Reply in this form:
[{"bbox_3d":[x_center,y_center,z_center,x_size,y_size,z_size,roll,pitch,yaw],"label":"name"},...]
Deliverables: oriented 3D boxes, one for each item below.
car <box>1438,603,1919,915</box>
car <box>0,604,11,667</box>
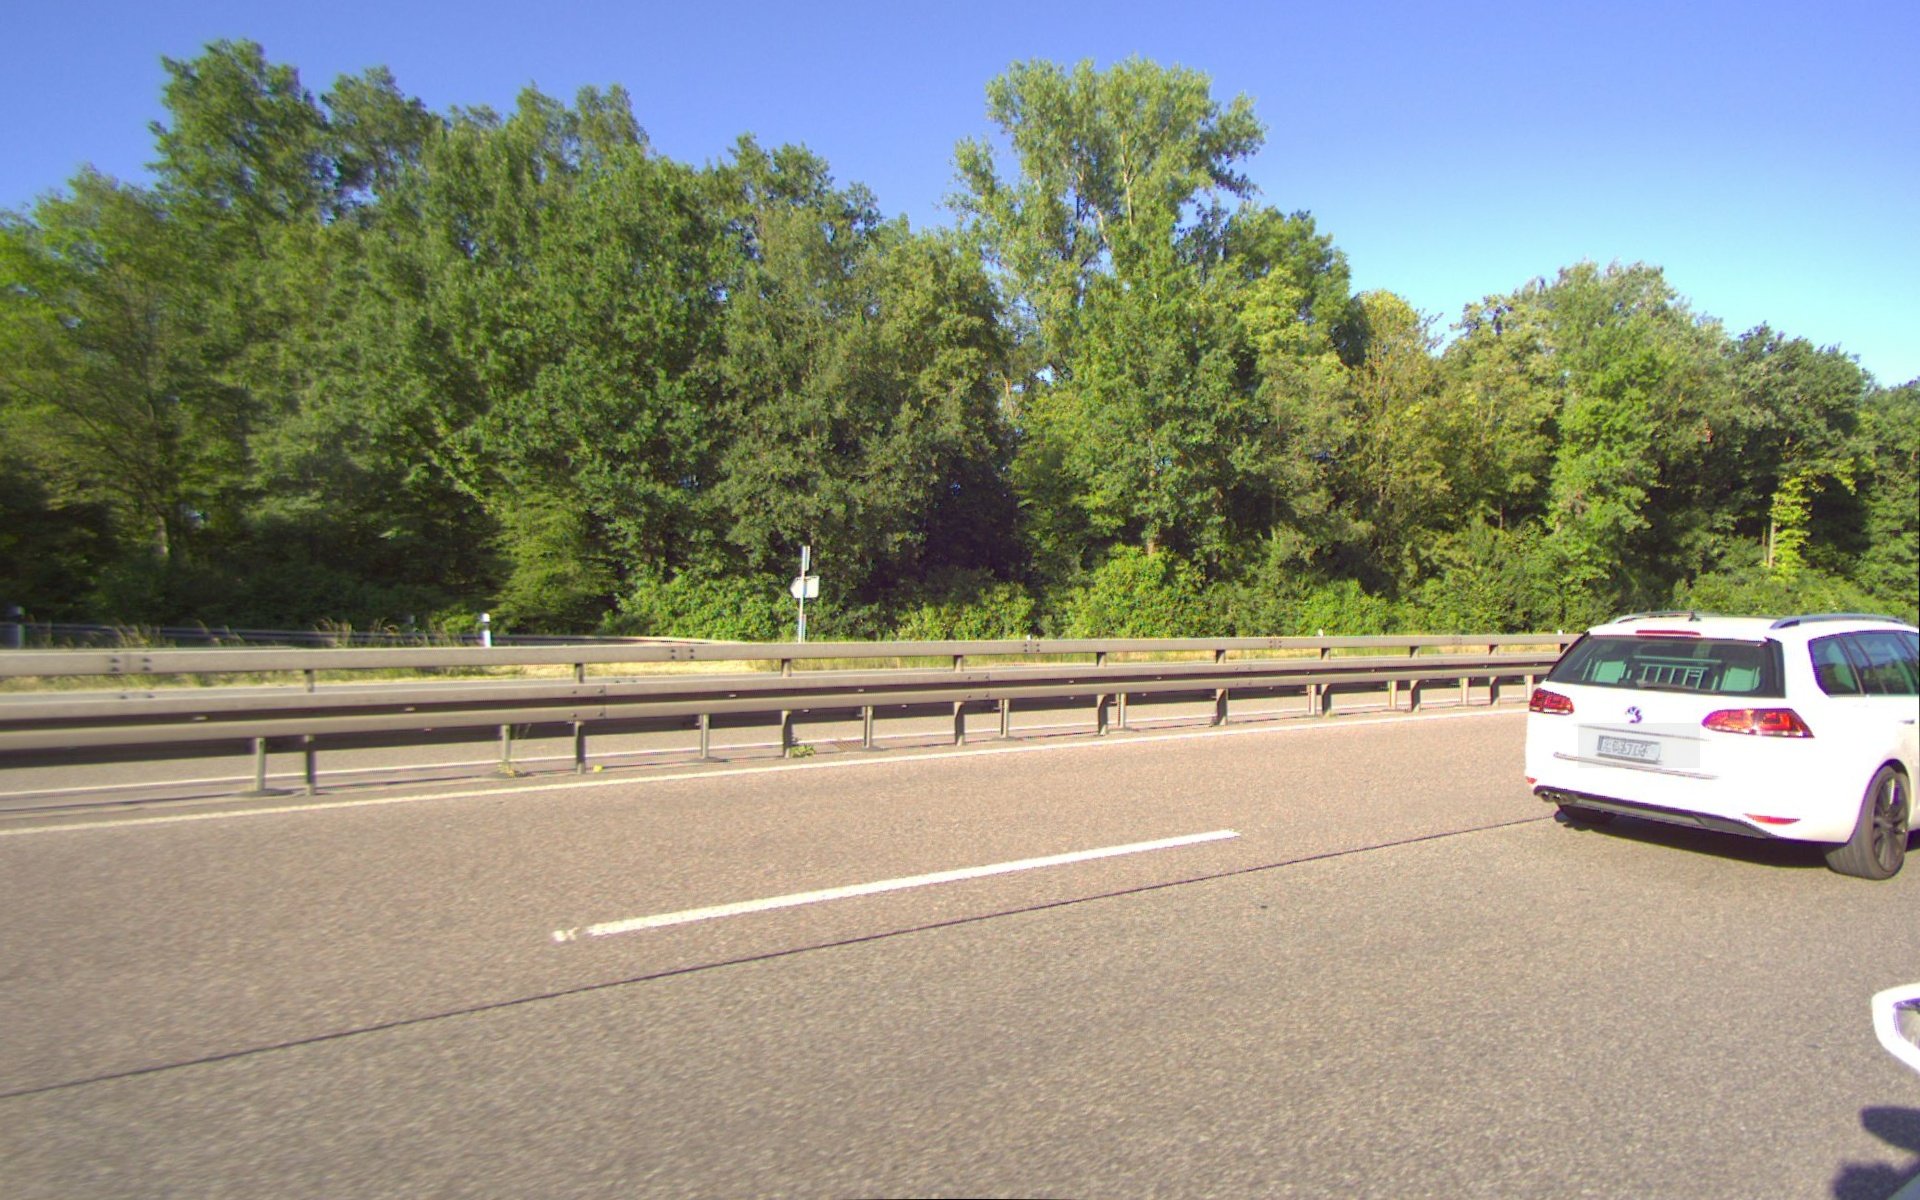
[{"bbox_3d":[6.045,0.824,7.176,5.531,1.528,1.921,1,0,-29],"label":"car"},{"bbox_3d":[-31.079,1.004,29.459,4.572,1.884,2.000,2,-1,2],"label":"car"}]
